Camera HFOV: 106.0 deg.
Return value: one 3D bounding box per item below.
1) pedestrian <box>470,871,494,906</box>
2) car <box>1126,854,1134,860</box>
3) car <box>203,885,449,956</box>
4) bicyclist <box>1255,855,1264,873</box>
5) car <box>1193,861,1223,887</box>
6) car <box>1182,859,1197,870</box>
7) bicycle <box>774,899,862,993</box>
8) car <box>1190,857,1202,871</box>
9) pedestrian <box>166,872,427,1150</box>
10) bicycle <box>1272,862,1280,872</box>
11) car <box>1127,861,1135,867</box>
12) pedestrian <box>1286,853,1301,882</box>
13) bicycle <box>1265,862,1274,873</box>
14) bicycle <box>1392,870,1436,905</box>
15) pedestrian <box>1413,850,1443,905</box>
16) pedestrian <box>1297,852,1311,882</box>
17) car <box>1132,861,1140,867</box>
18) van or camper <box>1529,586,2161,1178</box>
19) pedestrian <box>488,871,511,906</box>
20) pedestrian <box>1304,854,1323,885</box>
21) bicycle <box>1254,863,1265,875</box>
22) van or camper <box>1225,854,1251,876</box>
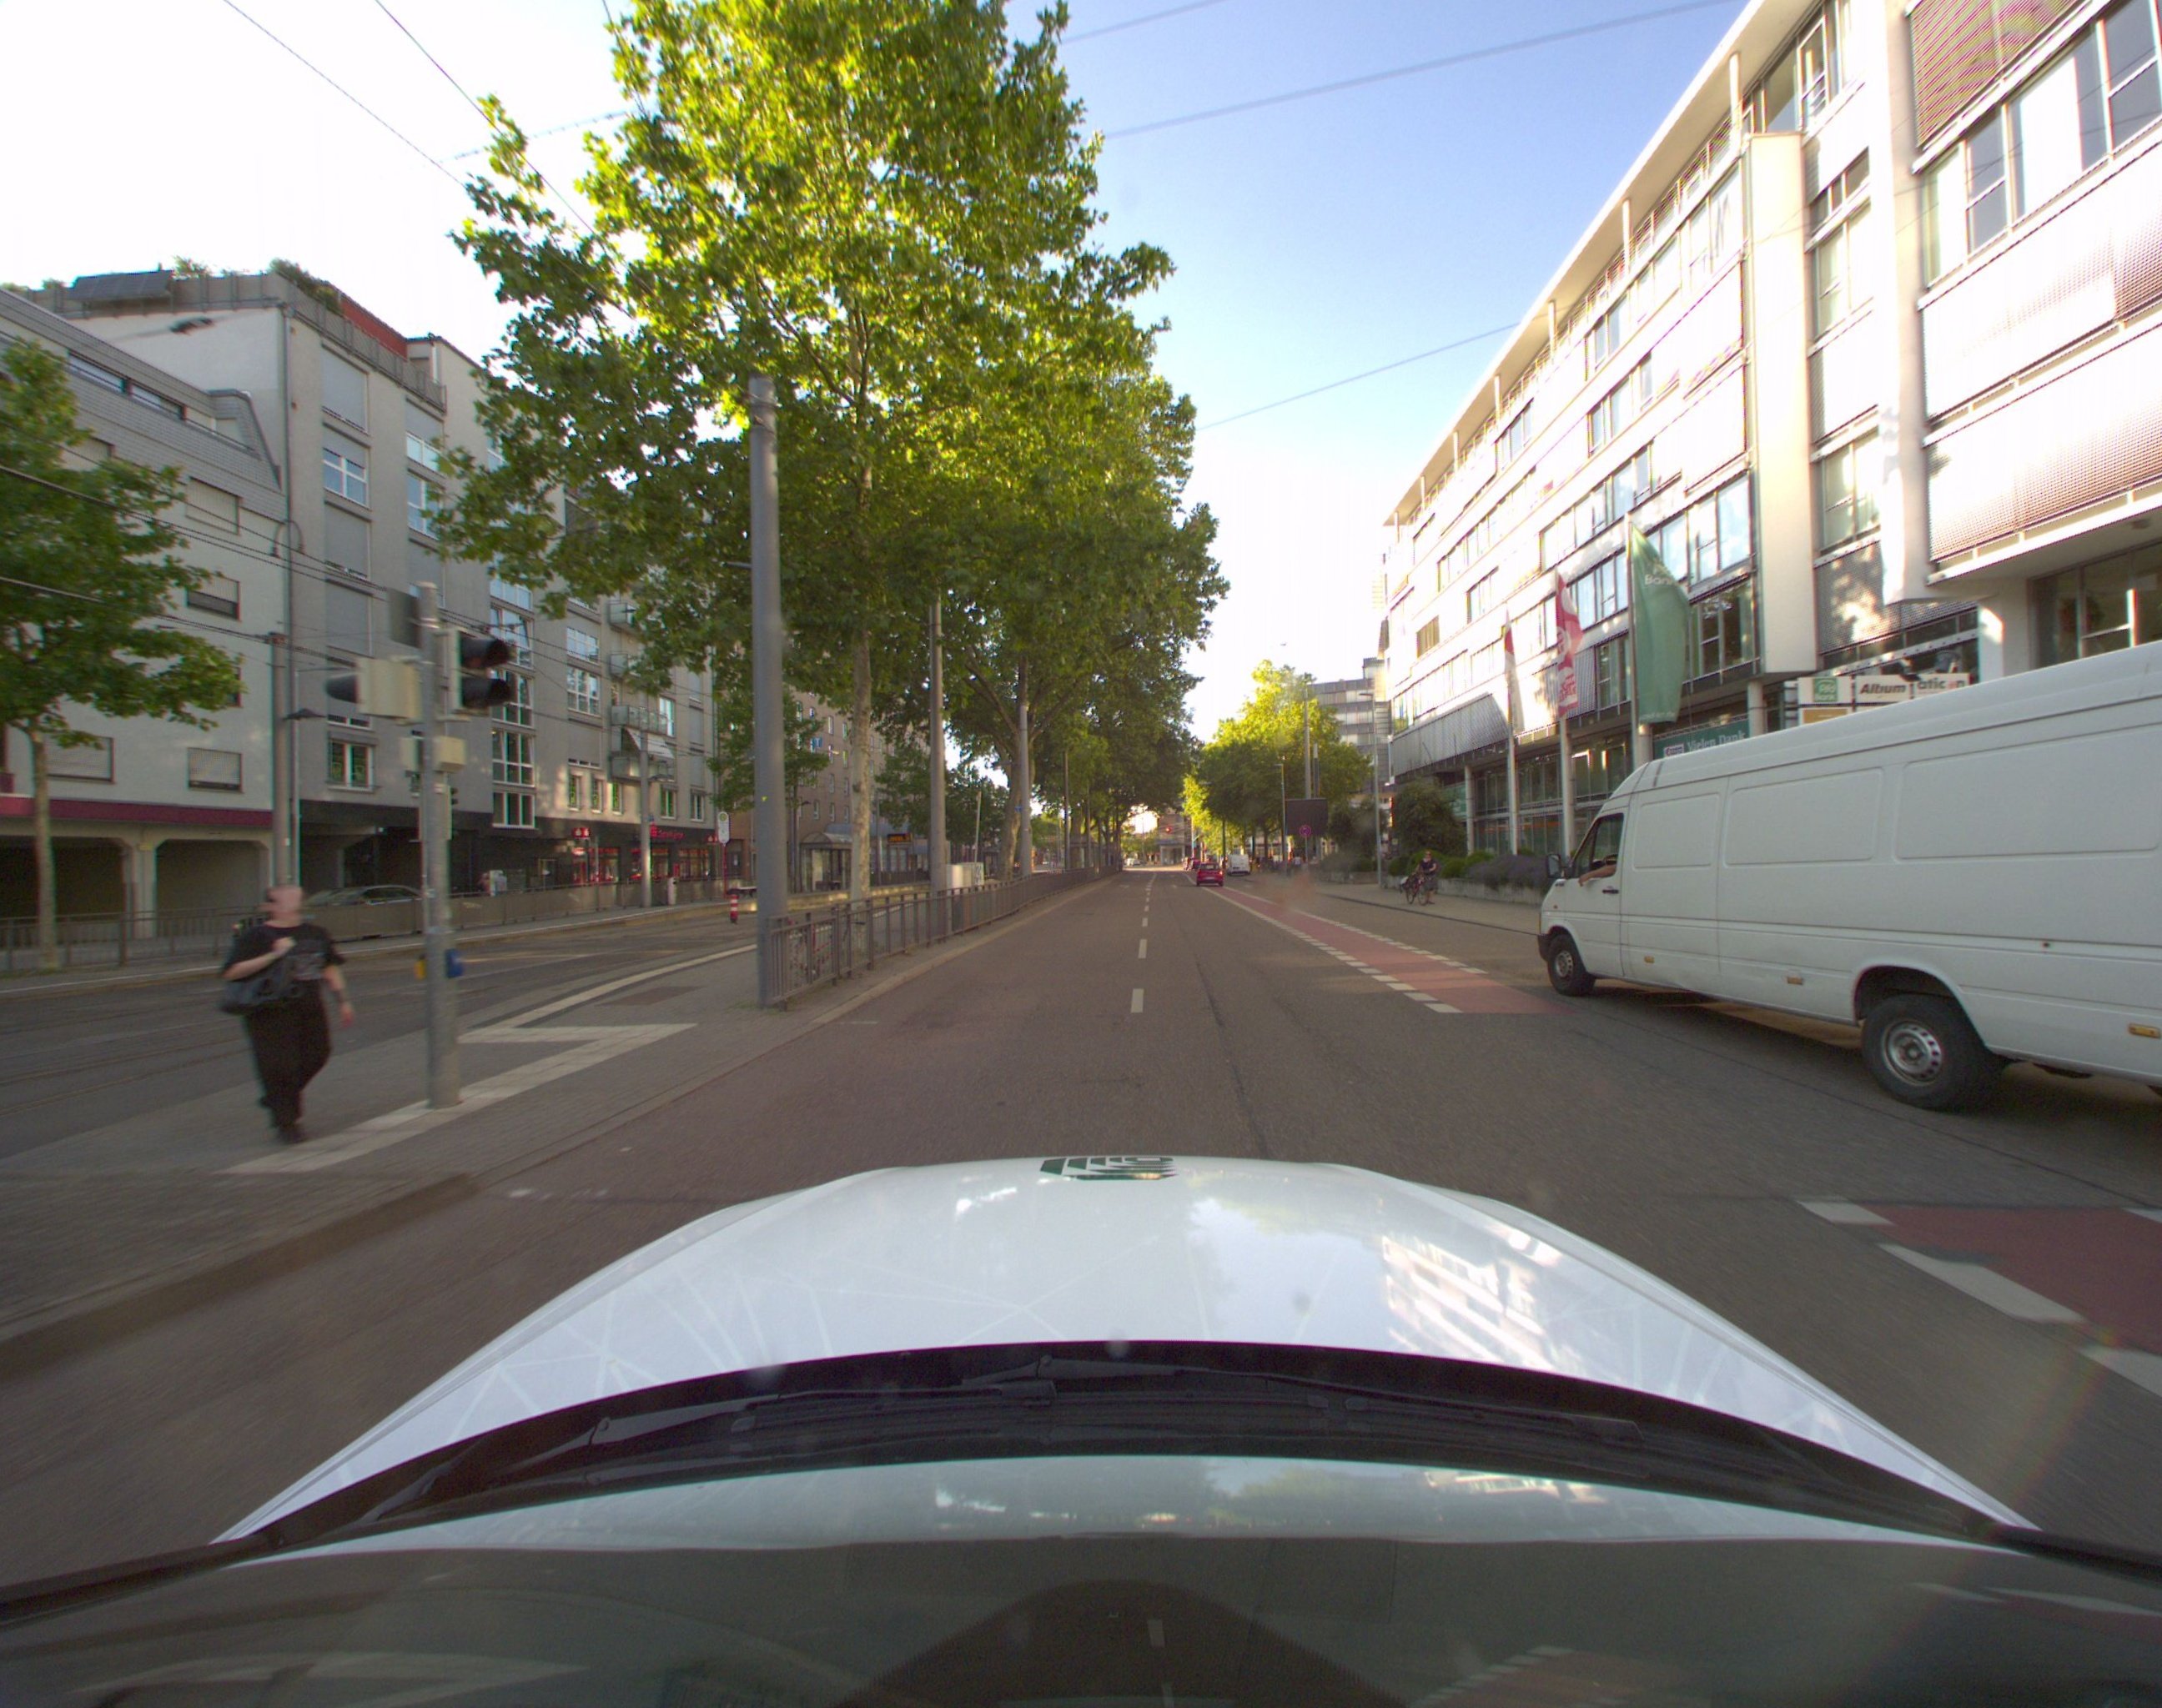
[{"bbox_3d":[-25.624,1.474,34.840,0.532,1.494,0.588,-2,-1,1],"label":"pedestrian"},{"bbox_3d":[12.934,0.759,215.541,1.772,1.588,3.411,-1,0,0],"label":"car"},{"bbox_3d":[-18.649,1.568,20.480,1.693,1.399,4.654,-2,-1,2],"label":"car"},{"bbox_3d":[16.583,0.917,75.735,0.647,1.702,0.953,-1,-1,4],"label":"bicyclist"},{"bbox_3d":[7.818,1.206,50.325,1.605,1.535,3.416,-1,0,5],"label":"car"},{"bbox_3d":[16.055,1.529,120.643,1.772,1.535,3.511,-1,0,0],"label":"car"},{"bbox_3d":[-3.193,1.091,9.999,0.393,0.949,1.355,-2,2,10],"label":"bicycle"},{"bbox_3d":[16.158,1.389,114.417,1.627,1.800,3.336,-2,-1,7],"label":"car"},{"bbox_3d":[-4.822,0.903,5.041,1.038,1.544,0.697,-2,-1,14],"label":"pedestrian"},{"bbox_3d":[19.672,1.324,82.318,0.465,0.982,1.769,-3,-1,4],"label":"bicycle"},{"bbox_3d":[12.880,2.480,209.490,1.772,1.535,3.411,-1,0,0],"label":"car"},{"bbox_3d":[12.954,0.845,49.671,0.562,1.702,0.907,-5,-1,2],"label":"pedestrian"},{"bbox_3d":[19.082,1.313,82.344,0.583,1.067,1.902,-3,-1,4],"label":"bicycle"},{"bbox_3d":[10.368,1.020,25.454,0.518,0.975,2.204,-5,0,4],"label":"bicycle"},{"bbox_3d":[10.793,0.722,25.350,0.643,1.680,0.652,-2,-1,5],"label":"pedestrian"},{"bbox_3d":[13.580,0.774,49.610,0.538,1.796,0.907,-5,-1,2],"label":"pedestrian"},{"bbox_3d":[13.626,2.409,202.818,1.772,1.535,3.411,-1,0,0],"label":"car"},{"bbox_3d":[6.103,0.133,6.432,1.960,2.716,6.310,-1,0,3],"label":"van or camper"},{"bbox_3d":[-24.976,1.473,35.006,0.532,1.494,0.588,-2,-1,1],"label":"pedestrian"},{"bbox_3d":[12.523,0.843,43.846,0.641,1.579,0.721,-5,-1,-7],"label":"pedestrian"},{"bbox_3d":[16.578,1.413,75.659,0.680,1.067,2.472,-3,-1,4],"label":"bicycle"},{"bbox_3d":[14.802,1.077,77.191,1.983,1.989,4.752,-1,-1,6],"label":"van or camper"}]
